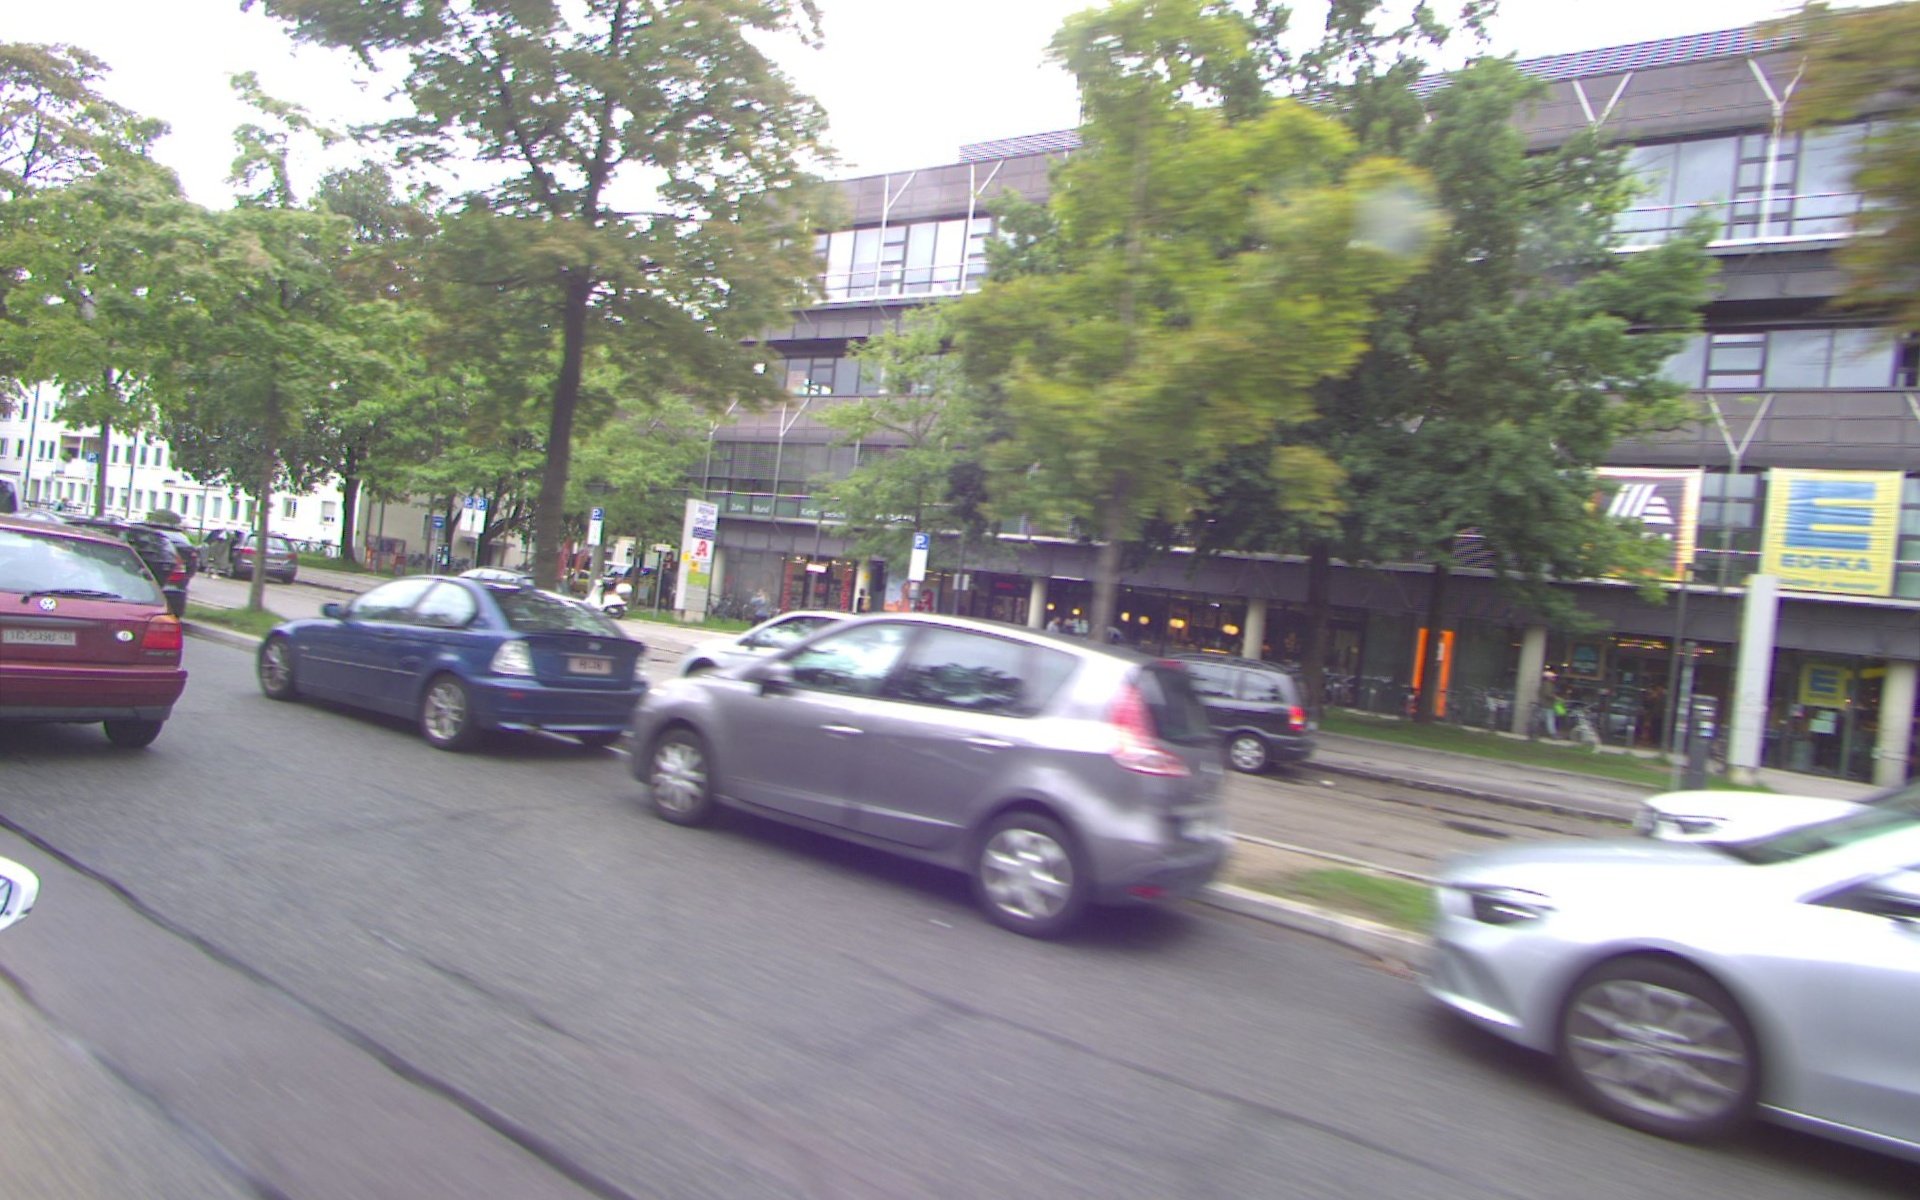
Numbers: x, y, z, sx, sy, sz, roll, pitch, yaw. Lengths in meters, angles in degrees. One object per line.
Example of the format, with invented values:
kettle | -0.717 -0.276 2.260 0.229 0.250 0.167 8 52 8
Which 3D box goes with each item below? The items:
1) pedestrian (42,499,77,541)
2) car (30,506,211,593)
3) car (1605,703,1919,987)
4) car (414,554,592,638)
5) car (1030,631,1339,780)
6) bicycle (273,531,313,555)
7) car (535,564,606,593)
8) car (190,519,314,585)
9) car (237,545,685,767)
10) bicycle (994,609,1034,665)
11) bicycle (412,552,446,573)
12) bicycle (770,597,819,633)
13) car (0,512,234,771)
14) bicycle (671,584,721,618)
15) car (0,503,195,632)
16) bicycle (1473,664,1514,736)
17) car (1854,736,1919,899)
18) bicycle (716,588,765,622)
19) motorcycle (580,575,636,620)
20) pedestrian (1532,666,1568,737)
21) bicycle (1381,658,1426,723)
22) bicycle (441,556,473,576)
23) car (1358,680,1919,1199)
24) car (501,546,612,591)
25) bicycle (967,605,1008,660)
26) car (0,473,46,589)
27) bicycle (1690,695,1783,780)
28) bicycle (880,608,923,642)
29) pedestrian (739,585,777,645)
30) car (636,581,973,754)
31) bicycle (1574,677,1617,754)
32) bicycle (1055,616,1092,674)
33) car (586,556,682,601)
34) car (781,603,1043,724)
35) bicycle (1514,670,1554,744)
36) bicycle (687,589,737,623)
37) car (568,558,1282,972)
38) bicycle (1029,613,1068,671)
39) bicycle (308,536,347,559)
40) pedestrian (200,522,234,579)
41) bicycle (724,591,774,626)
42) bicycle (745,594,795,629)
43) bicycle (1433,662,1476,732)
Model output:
pedestrian | -37.596 -3.320 42.004 0.767 1.593 0.580 7 -1 -1
car | -19.553 -1.198 23.386 4.613 1.448 1.732 6 -2 31
car | 7.491 1.885 6.922 4.788 1.609 1.828 7 -2 25
car | -11.468 -0.125 25.146 4.527 1.550 1.823 7 0 33
car | 3.596 1.611 16.343 4.425 1.654 1.824 7 0 31
bicycle | -34.885 -2.973 52.628 0.447 0.983 1.695 7 0 27
car | -23.166 -1.272 59.895 1.558 1.216 3.745 8 0 28
car | -22.975 -1.559 32.588 4.130 1.654 1.823 7 0 34
car | -4.710 0.459 9.377 4.012 1.391 1.686 7 -2 30
bicycle | 1.726 1.190 31.674 0.637 1.642 2.317 7 -1 14
bicycle | -30.588 -2.146 57.988 0.447 0.983 1.695 7 0 27
bicycle | -6.112 0.574 37.335 0.448 1.133 2.078 7 -1 31
car | -6.768 0.072 6.637 3.853 1.399 1.686 7 -2 30
bicycle | -10.424 0.041 39.735 0.448 1.133 2.078 7 -1 31
car | -13.285 -0.565 14.785 3.973 1.465 1.701 7 -2 29
bicycle | 13.354 2.502 25.146 0.638 1.642 2.311 7 -1 31
car | 12.653 2.672 10.663 4.266 1.654 1.863 7 0 28
bicycle | -8.567 0.200 39.311 0.448 1.133 2.078 7 -1 31
motorcycle | -11.054 -0.090 31.594 1.915 1.247 0.472 6 3 31
pedestrian | 16.020 2.747 27.331 0.656 1.828 0.727 7 2 31
bicycle | 11.616 2.367 26.305 0.638 1.550 2.311 7 -1 31
bicycle | -29.785 -2.035 59.571 0.447 0.983 1.695 7 0 27
car | 4.094 1.438 3.885 4.391 1.539 1.687 7 -4 32
car | -24.964 -1.901 62.525 2.306 2.023 6.099 7 0 31
bicycle | 0.894 1.060 32.041 0.637 1.642 2.317 7 -1 14
car | -18.939 -1.505 18.251 4.849 1.949 1.886 7 -2 29
bicycle | 17.519 3.062 22.764 0.637 1.642 2.317 7 -1 15
bicycle | -2.280 0.985 39.249 1.527 1.134 0.455 7 0 28
pedestrian | -5.570 0.421 27.777 0.621 1.562 0.659 7 2 31
car | -1.982 0.796 12.551 3.812 1.536 1.654 7 -2 30
bicycle | 15.011 2.707 23.808 0.638 1.642 2.311 7 -1 31
bicycle | 3.478 1.385 30.687 0.637 1.642 2.317 7 -1 14
car | -19.646 -1.239 60.996 2.301 2.078 6.113 7 0 17
car | -0.947 1.147 19.076 4.521 1.550 1.825 8 1 28
bicycle | 14.063 2.605 24.609 0.638 1.642 2.311 7 -1 31
bicycle | -9.714 0.231 39.467 0.448 1.133 2.078 7 -1 31
car | -0.374 0.851 6.712 4.390 1.659 1.687 7 -3 31
bicycle | 2.759 1.316 31.193 0.637 1.642 2.317 7 -1 14
bicycle | -34.098 -2.813 54.227 0.447 0.983 1.695 7 0 27
pedestrian | -22.587 -1.509 30.589 0.654 1.613 0.746 7 0 -40
bicycle | -7.994 0.353 38.164 0.448 1.133 2.078 7 -1 31
bicycle | -7.146 0.460 37.906 0.448 1.133 2.078 7 -1 31
bicycle | 12.609 2.472 25.633 0.638 1.642 2.311 7 -1 31
